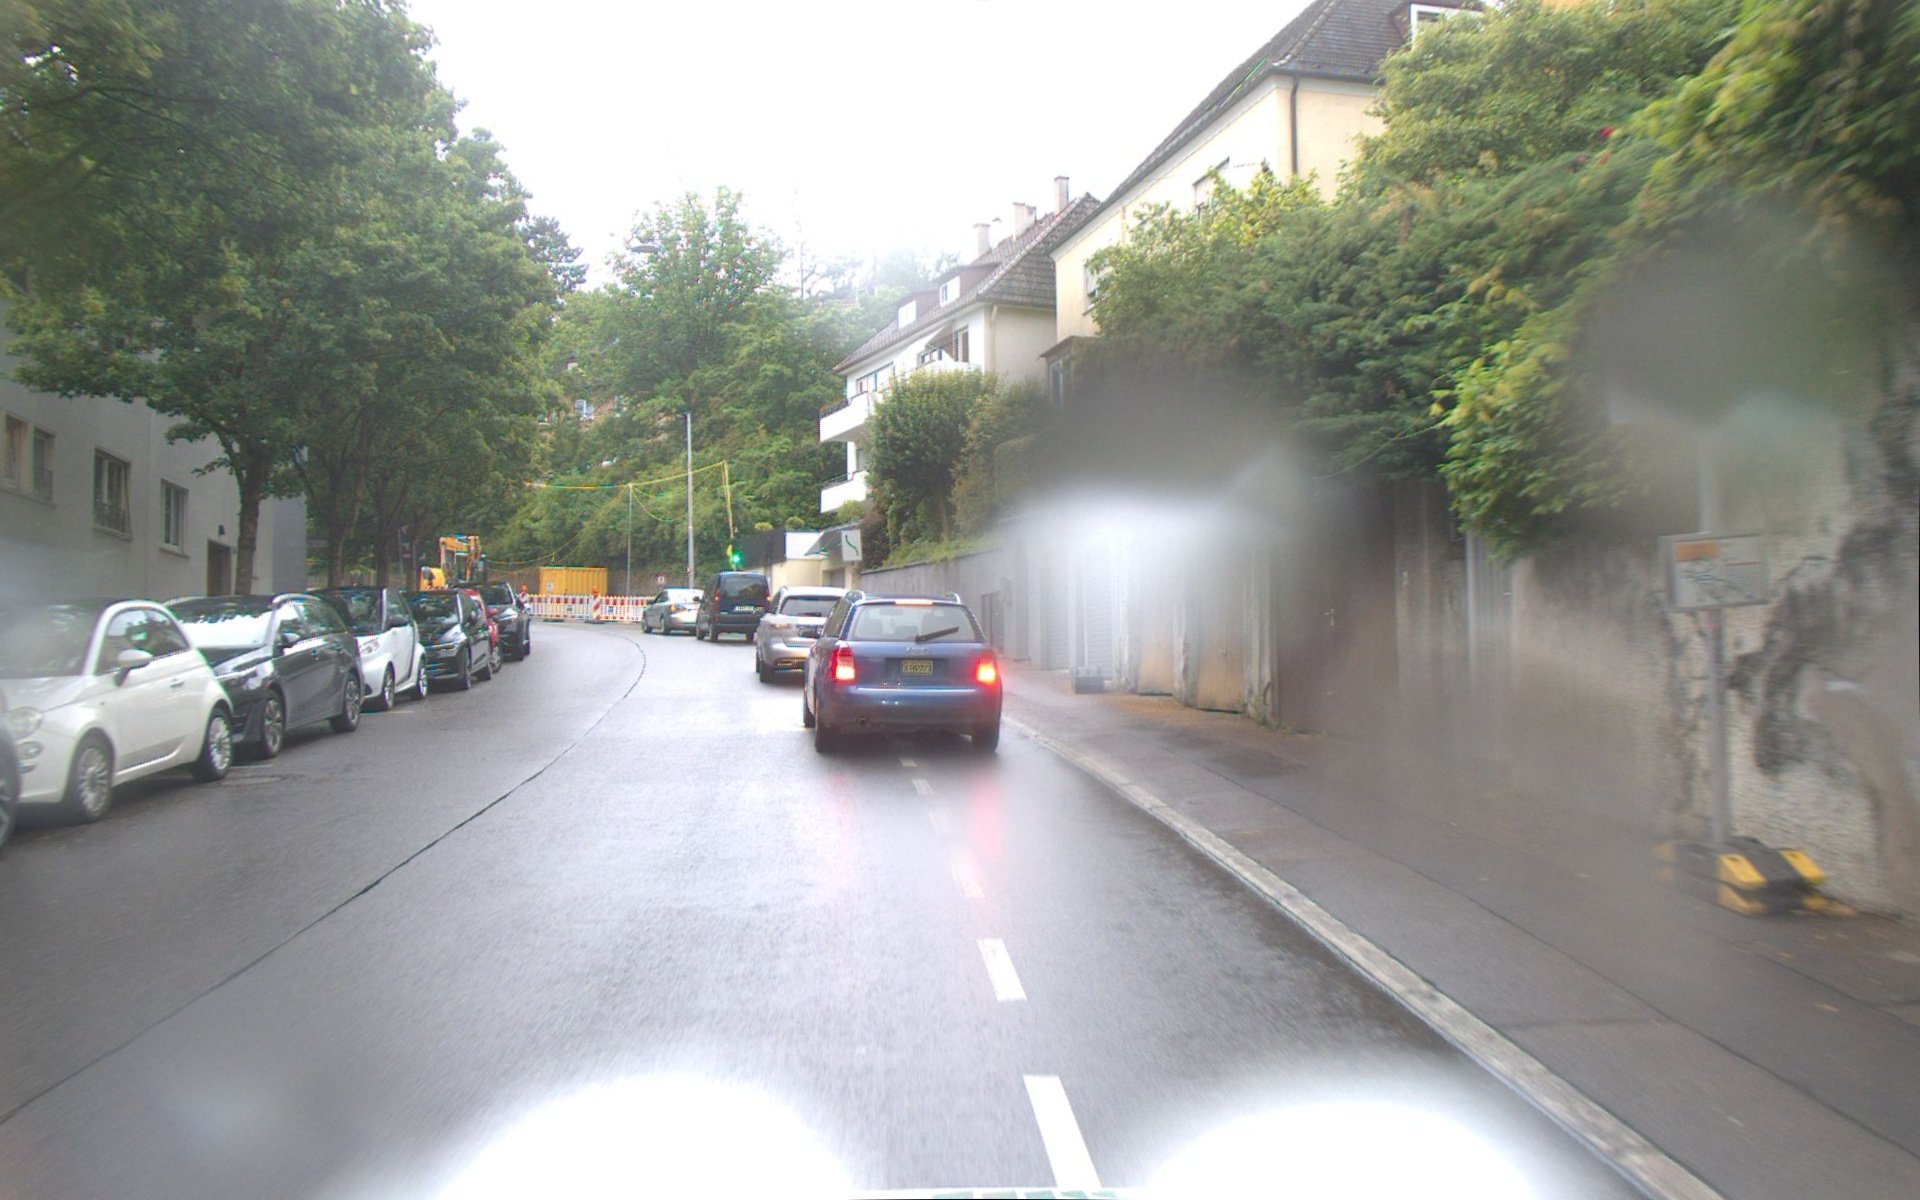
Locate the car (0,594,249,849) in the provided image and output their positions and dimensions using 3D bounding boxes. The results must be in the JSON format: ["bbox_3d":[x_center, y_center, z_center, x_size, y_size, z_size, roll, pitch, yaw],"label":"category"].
[{"bbox_3d":[-6.588,0.791,11.969,1.544,1.514,3.466,-4,1,-5],"label":"car"}]

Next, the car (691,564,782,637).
[{"bbox_3d":[-6.101,-0.002,44.782,1.960,1.825,3.985,-2,1,-14],"label":"car"}]

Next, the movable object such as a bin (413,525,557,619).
[{"bbox_3d":[-21.829,-1.283,75.822,7.190,4.084,2.814,1,1,40],"label":"movable object such as a bin"}]

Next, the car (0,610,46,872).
[{"bbox_3d":[-6.182,0.853,7.917,1.586,1.495,3.968,-4,0,-5],"label":"car"}]

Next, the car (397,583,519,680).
[{"bbox_3d":[-9.126,0.545,30.305,1.603,1.592,3.839,-2,0,-10],"label":"car"}]

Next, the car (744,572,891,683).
[{"bbox_3d":[-2.404,0.381,26.846,1.892,1.646,4.308,0,1,-12],"label":"car"}]

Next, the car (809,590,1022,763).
[{"bbox_3d":[-0.561,0.647,16.283,1.752,1.467,3.958,0,0,-7],"label":"car"}]

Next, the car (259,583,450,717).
[{"bbox_3d":[-7.903,0.617,21.869,1.526,1.537,3.379,-3,0,-6],"label":"car"}]

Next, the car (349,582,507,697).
[{"bbox_3d":[-8.129,0.572,25.590,1.526,1.514,4.090,-4,0,-8],"label":"car"}]

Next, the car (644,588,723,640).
[{"bbox_3d":[-8.704,0.419,51.847,1.696,1.512,4.052,-2,1,-20],"label":"car"}]

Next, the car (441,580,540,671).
[{"bbox_3d":[-10.089,0.490,35.818,1.654,1.635,4.562,-6,2,-13],"label":"car"}]

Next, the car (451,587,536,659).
[{"bbox_3d":[-11.326,0.521,40.390,1.653,1.534,4.302,-3,2,-12],"label":"car"}]

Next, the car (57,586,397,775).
[{"bbox_3d":[-7.098,0.697,16.547,1.632,1.514,4.471,-4,0,-5],"label":"car"}]
